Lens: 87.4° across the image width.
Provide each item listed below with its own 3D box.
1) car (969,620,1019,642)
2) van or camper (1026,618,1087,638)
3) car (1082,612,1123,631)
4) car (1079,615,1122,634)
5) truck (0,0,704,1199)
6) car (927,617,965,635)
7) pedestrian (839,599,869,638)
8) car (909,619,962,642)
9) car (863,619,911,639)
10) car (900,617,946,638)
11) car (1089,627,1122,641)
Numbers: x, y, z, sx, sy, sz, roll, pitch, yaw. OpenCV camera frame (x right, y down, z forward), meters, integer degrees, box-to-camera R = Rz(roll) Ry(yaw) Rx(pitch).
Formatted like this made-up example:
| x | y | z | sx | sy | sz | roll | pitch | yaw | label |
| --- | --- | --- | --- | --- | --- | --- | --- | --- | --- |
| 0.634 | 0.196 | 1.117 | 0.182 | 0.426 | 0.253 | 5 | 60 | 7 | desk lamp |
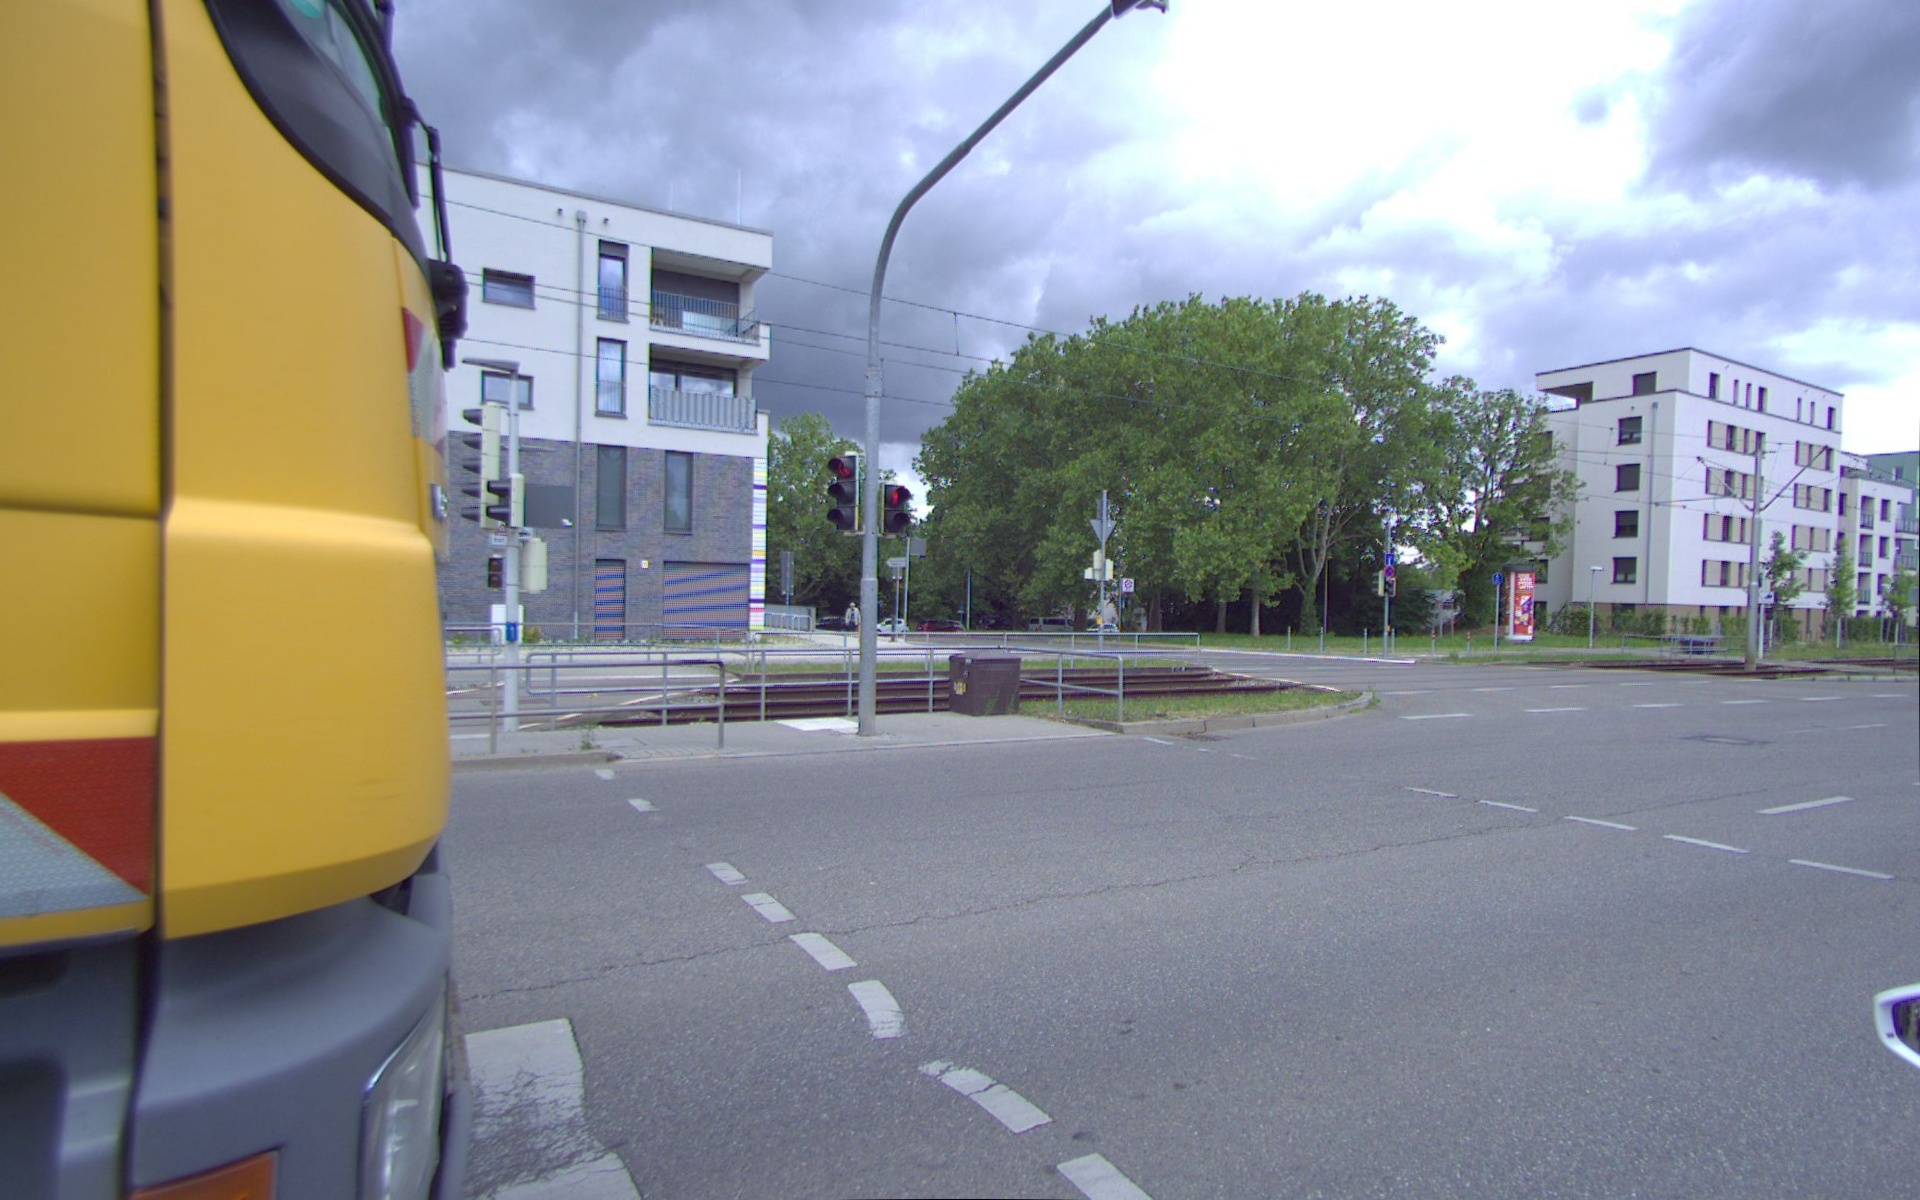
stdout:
| x | y | z | sx | sy | sz | roll | pitch | yaw | label |
| --- | --- | --- | --- | --- | --- | --- | --- | --- | --- |
| 2.749 | 2.522 | 80.988 | 3.742 | 1.684 | 1.651 | 2 | 0 | -31 | car |
| 8.089 | 2.351 | 83.906 | 4.945 | 1.553 | 1.850 | 1 | 0 | -29 | van or camper |
| 14.125 | 2.126 | 99.671 | 3.715 | 1.752 | 1.663 | 2 | 0 | -7 | car |
| 13.009 | 2.264 | 93.157 | 3.768 | 1.671 | 1.685 | 1 | 0 | -33 | car |
| -4.220 | -0.106 | 0.148 | 7.686 | 3.043 | 2.708 | 2 | 0 | -30 | truck |
| -1.393 | 2.564 | 99.252 | 3.380 | 1.586 | 1.665 | 2 | 0 | 16 | car |
| -4.694 | 0.825 | 44.330 | 0.983 | 1.692 | 0.847 | 2 | 0 | -36 | pedestrian |
| -1.890 | 2.371 | 77.558 | 3.740 | 1.684 | 1.652 | 2 | 0 | -29 | car |
| -6.007 | 2.379 | 82.590 | 3.545 | 1.557 | 1.863 | 1 | 0 | -23 | car |
| -3.220 | 2.357 | 86.882 | 3.581 | 1.684 | 1.653 | 2 | 0 | -28 | car |
| 14.924 | 3.463 | 103.322 | 3.081 | 1.362 | 1.446 | 1 | 0 | -7 | car |
